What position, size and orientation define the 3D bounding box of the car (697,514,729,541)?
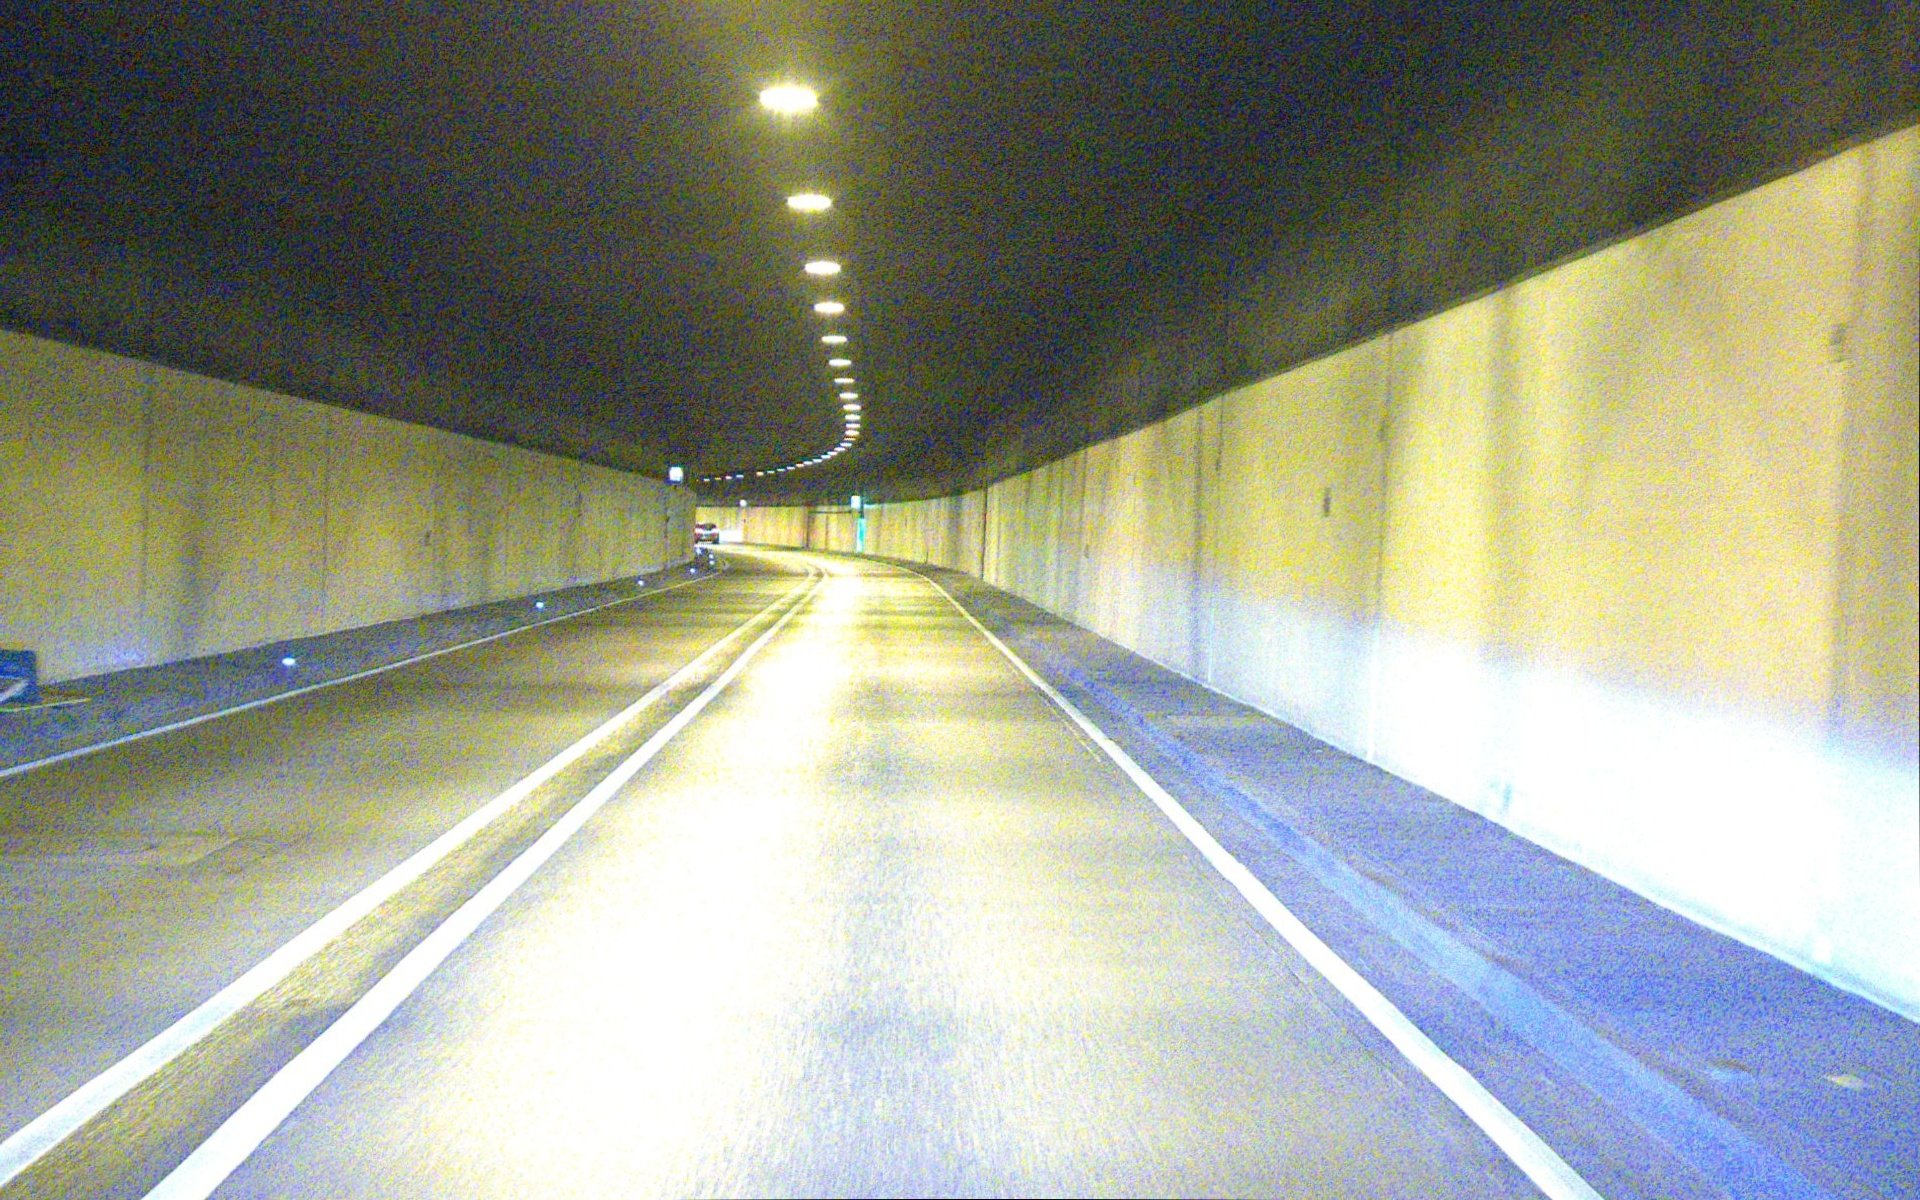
[{"bbox_3d":[-18.279,-5.346,254.234,1.966,1.932,4.614,2,0,-8],"label":"car"}]
